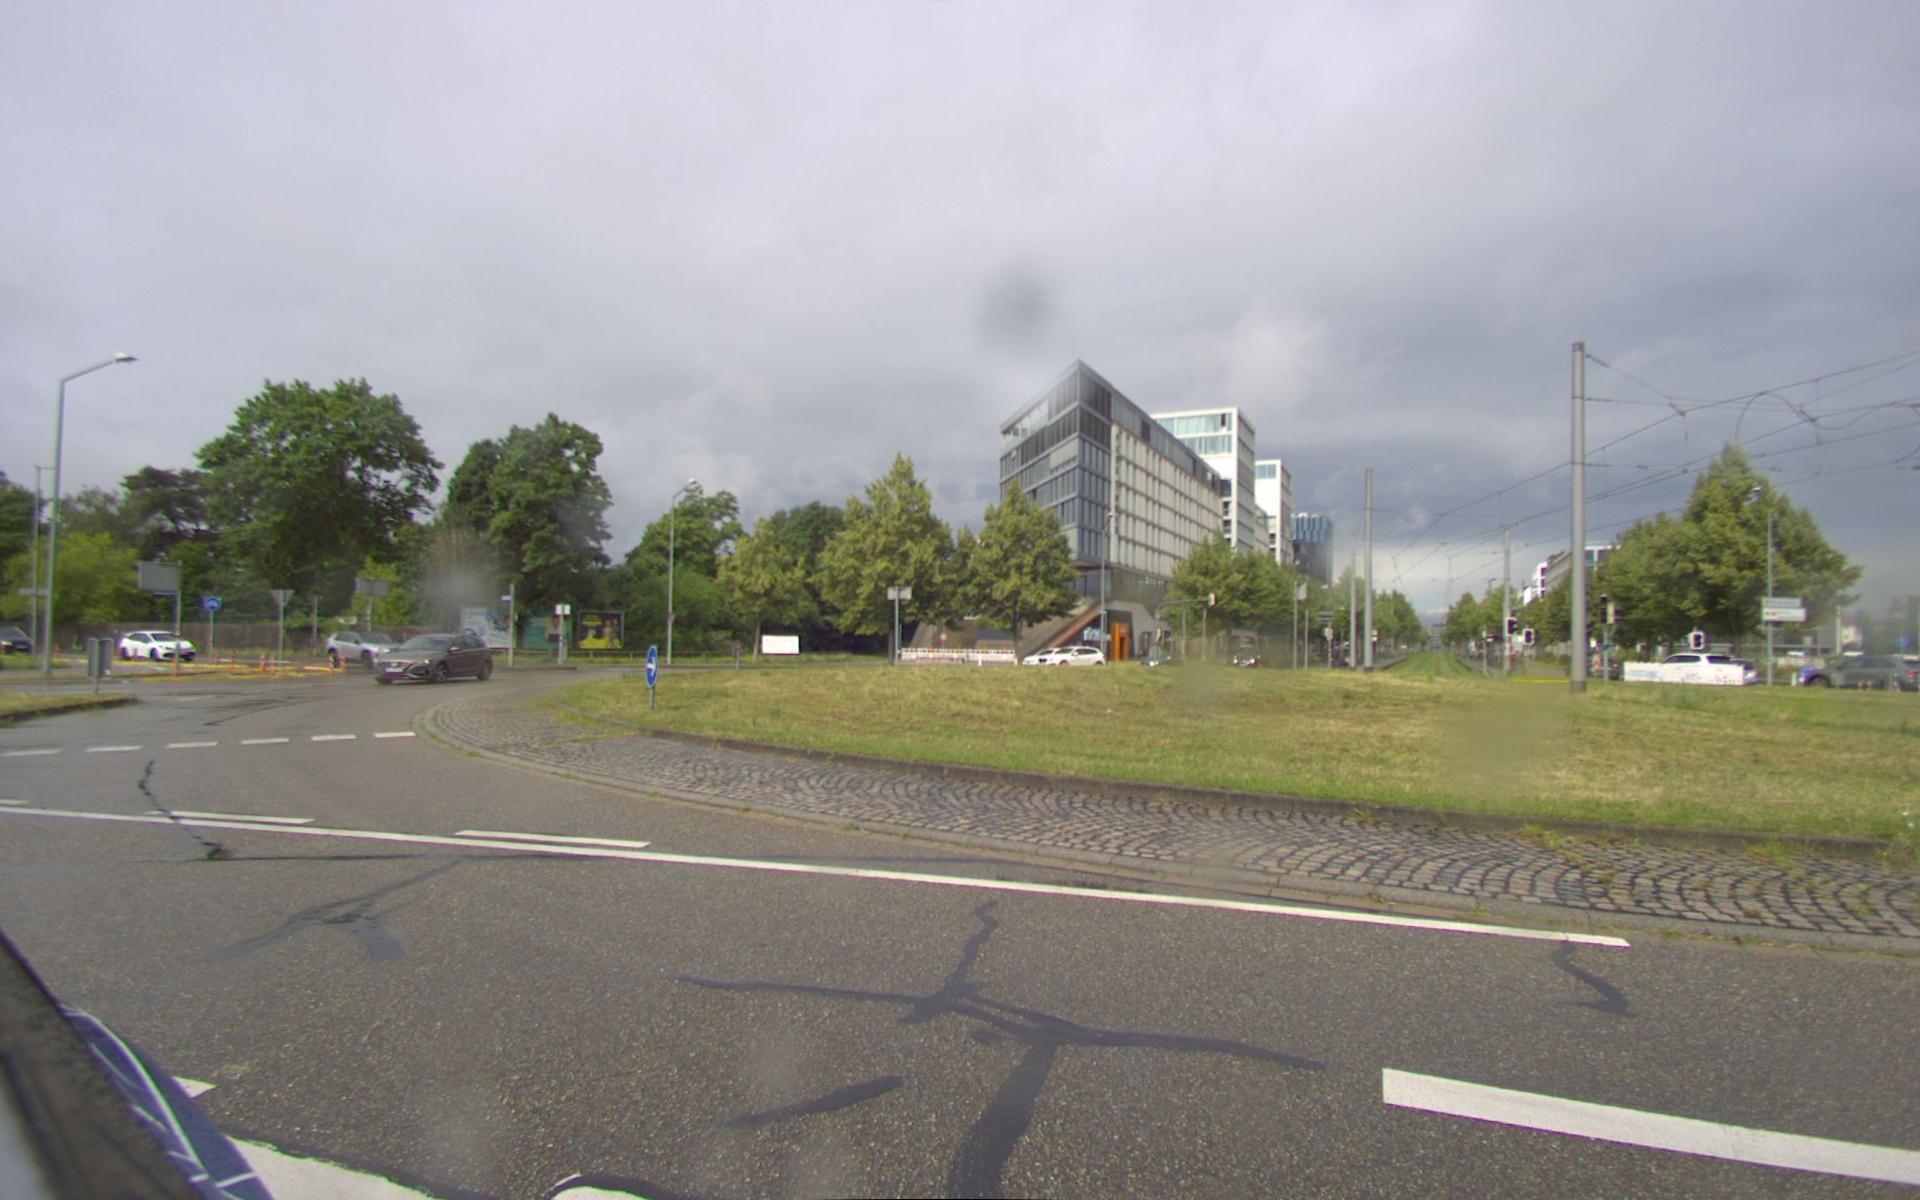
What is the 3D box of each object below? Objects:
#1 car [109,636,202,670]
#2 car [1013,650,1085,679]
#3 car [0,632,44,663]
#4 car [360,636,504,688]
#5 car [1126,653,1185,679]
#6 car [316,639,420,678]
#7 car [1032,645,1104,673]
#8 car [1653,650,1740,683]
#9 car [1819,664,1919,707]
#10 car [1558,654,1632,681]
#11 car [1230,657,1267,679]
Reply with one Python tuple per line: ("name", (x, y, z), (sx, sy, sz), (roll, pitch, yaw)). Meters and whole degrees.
("car", (-42.037, 2.729, 52.884), (4.453, 1.676, 1.862), (-1, -1, 22))
("car", (5.481, 3.978, 62.009), (4.400, 1.685, 1.869), (5, -6, -40))
("car", (-56.744, 2.868, 60.437), (4.469, 1.676, 1.855), (-3, -5, 33))
("car", (-15.459, 1.787, 29.899), (1.715, 1.424, 4.118), (-1, -2, 7))
("car", (13.259, 4.480, 68.554), (1.867, 1.685, 4.407), (-3, -6, 43))
("car", (-26.609, 2.599, 45.457), (4.459, 1.676, 1.859), (-1, -2, 26))
("car", (6.103, 3.318, 57.169), (3.839, 1.519, 1.731), (3, -4, -34))
("car", (35.920, 3.229, 49.484), (1.477, 1.522, 3.503), (0, -2, -4))
("car", (37.315, 3.414, 40.854), (1.547, 1.572, 3.689), (1, -3, -18))
("car", (36.917, 3.896, 58.944), (1.778, 1.529, 3.998), (0, -3, 1))
("car", (20.956, 4.907, 73.464), (1.720, 1.519, 3.864), (-1, -3, 30))
